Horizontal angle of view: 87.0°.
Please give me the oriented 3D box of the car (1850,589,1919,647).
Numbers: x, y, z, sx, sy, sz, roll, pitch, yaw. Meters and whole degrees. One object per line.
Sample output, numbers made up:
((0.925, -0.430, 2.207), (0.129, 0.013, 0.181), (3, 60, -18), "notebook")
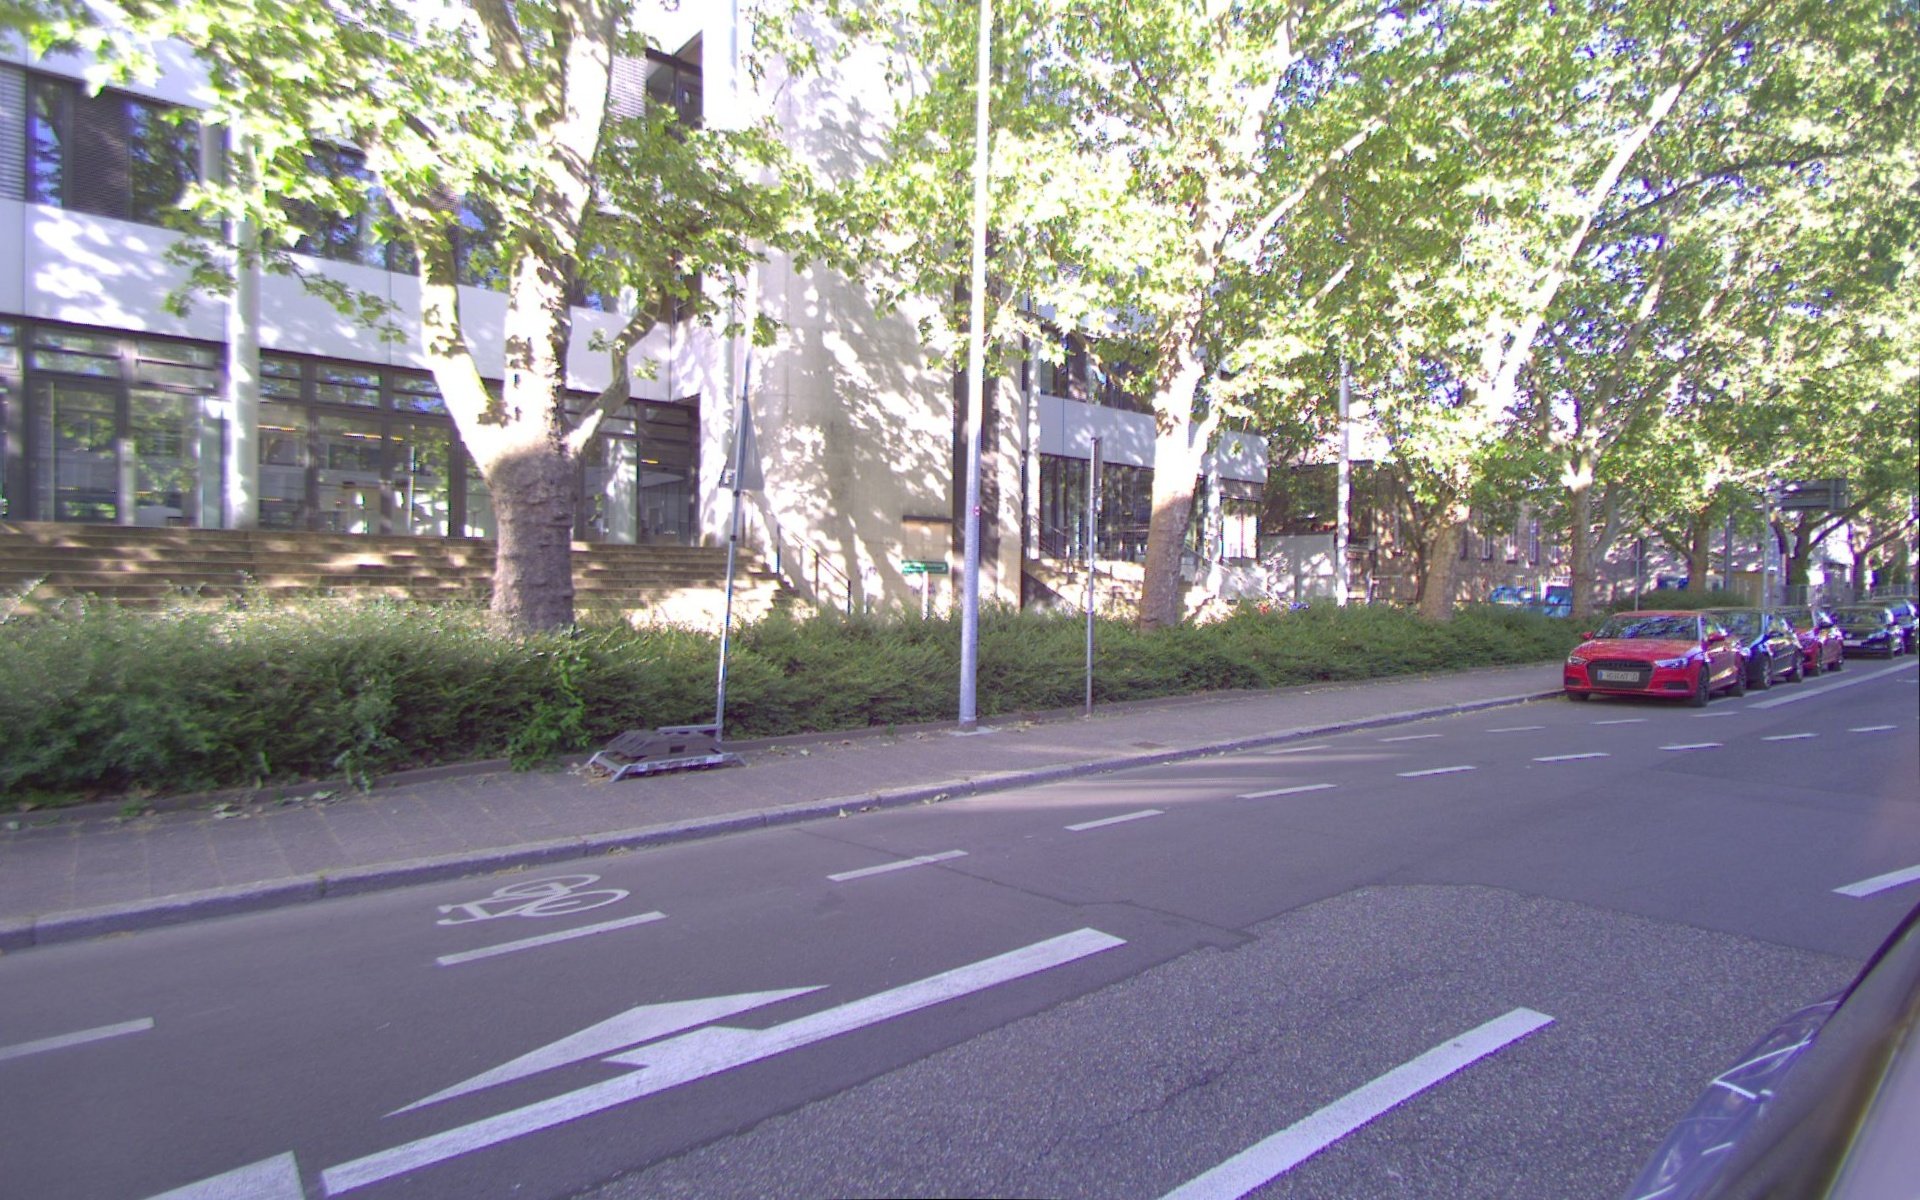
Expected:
((29.583, 0.516, 31.813), (4.403, 1.689, 1.865), (0, 0, -41), "car")

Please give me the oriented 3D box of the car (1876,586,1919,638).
((33.921, 0.397, 35.704), (4.403, 1.781, 1.865), (0, 0, -41), "car")

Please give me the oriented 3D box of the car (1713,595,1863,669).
((18.447, 0.639, 22.485), (4.403, 1.469, 1.865), (0, 0, -41), "car")

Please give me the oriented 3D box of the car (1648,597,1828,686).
((14.779, 0.694, 19.147), (4.403, 1.469, 1.865), (0, 0, -41), "car")

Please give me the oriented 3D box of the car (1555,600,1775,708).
((11.332, 0.741, 16.147), (4.403, 1.469, 1.865), (0, 0, -41), "car")

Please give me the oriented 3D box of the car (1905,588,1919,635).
((38.887, 0.446, 39.973), (4.403, 1.781, 1.865), (0, 0, -41), "car")

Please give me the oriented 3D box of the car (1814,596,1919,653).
((25.803, 0.623, 28.618), (4.403, 1.469, 1.865), (0, 0, -41), "car")
